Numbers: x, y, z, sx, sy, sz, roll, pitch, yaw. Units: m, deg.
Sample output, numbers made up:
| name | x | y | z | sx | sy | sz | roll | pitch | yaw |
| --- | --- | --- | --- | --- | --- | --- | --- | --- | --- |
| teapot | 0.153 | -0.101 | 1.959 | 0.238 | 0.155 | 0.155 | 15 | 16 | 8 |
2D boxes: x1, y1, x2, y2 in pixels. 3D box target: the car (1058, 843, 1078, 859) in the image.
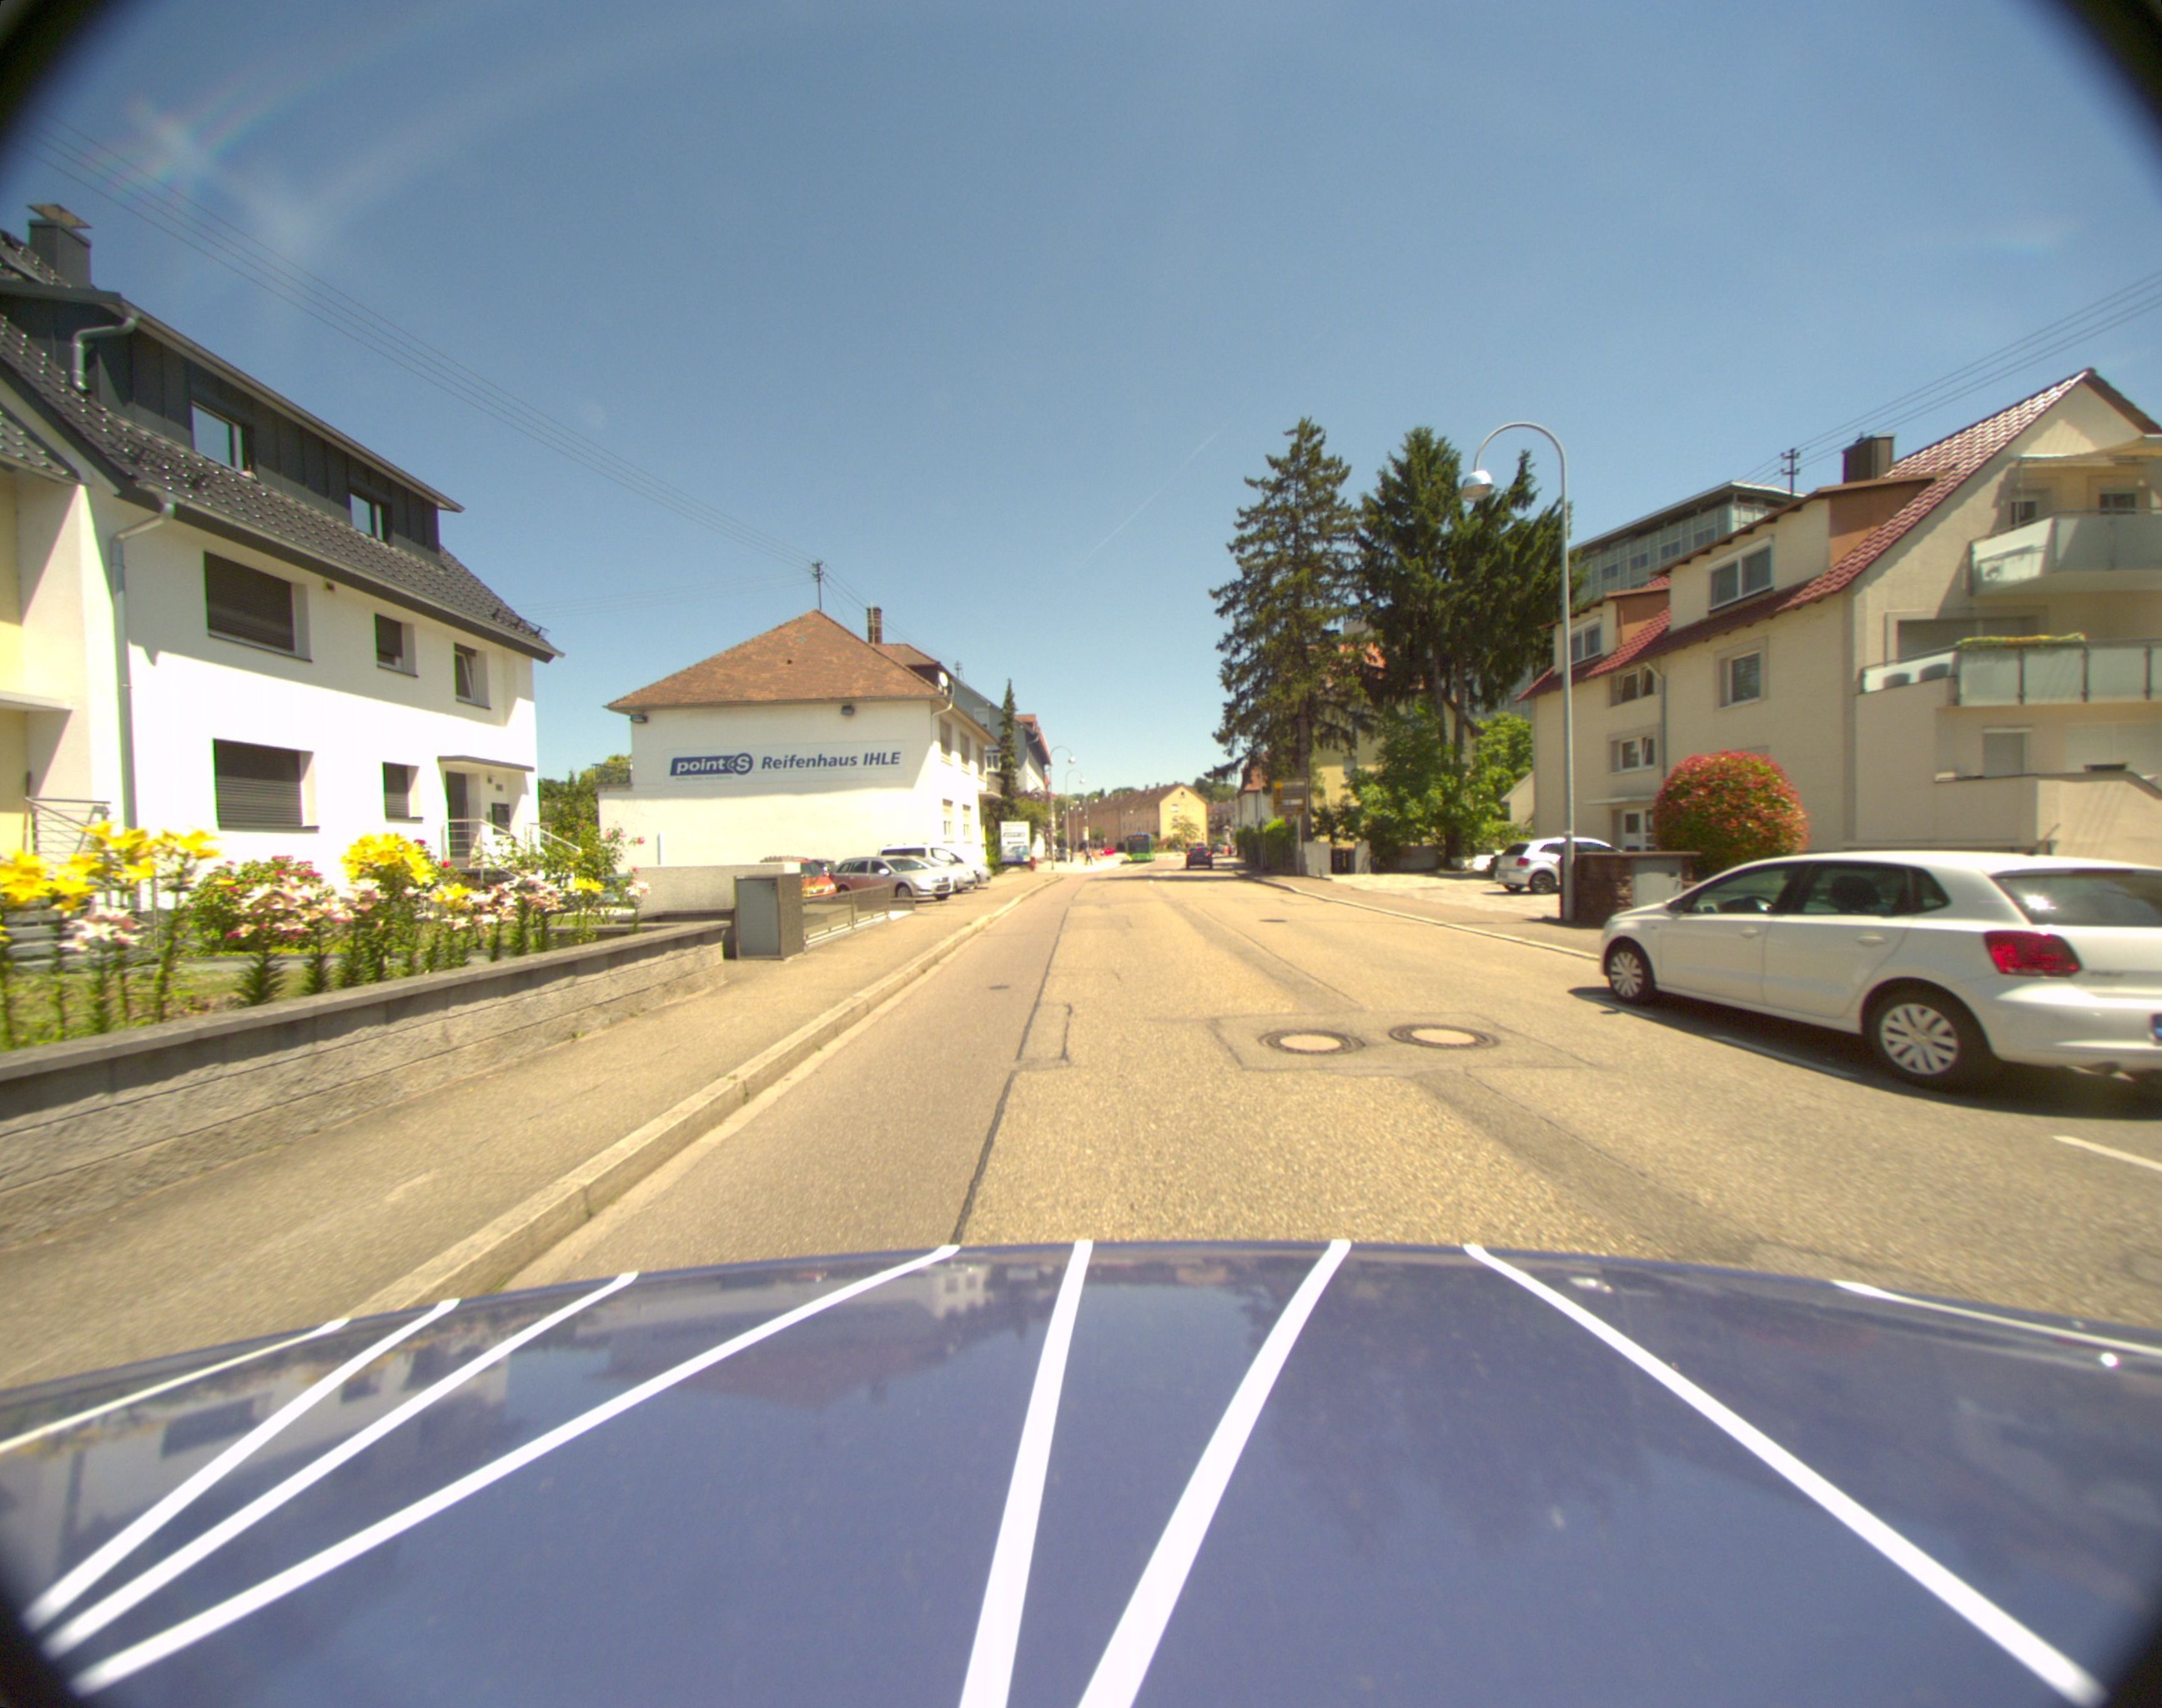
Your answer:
| name | x | y | z | sx | sy | sz | roll | pitch | yaw |
| --- | --- | --- | --- | --- | --- | --- | --- | --- | --- |
| car | -1.329 | -0.317 | 79.495 | 1.762 | 1.505 | 3.741 | 2 | 2 | 3 |

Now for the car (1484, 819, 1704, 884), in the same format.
| name | x | y | z | sx | sy | sz | roll | pitch | yaw |
| --- | --- | --- | --- | --- | --- | --- | --- | --- | --- |
| car | 13.445 | -0.073 | 20.142 | 4.477 | 1.433 | 1.847 | -3 | 1 | 5 |

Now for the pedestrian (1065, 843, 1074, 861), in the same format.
| name | x | y | z | sx | sy | sz | roll | pitch | yaw |
| --- | --- | --- | --- | --- | --- | --- | --- | --- | --- |
| pedestrian | -1.060 | -0.144 | 68.695 | 0.614 | 1.607 | 0.751 | 1 | 2 | 19 |

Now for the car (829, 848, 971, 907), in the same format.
| name | x | y | z | sx | sy | sz | roll | pitch | yaw |
| --- | --- | --- | --- | --- | --- | --- | --- | --- | --- |
| car | -5.680 | 0.745 | 23.653 | 4.293 | 1.539 | 1.759 | -3 | 3 | 34 |

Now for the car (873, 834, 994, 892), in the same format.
| name | x | y | z | sx | sy | sz | roll | pitch | yaw |
| --- | --- | --- | --- | --- | --- | --- | --- | --- | --- |
| car | -5.571 | 0.324 | 29.176 | 4.303 | 1.820 | 1.738 | -5 | 1 | -6 |

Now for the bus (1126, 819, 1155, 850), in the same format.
| name | x | y | z | sx | sy | sz | roll | pitch | yaw |
| --- | --- | --- | --- | --- | --- | --- | --- | --- | --- |
| bus | 6.487 | -2.141 | 83.360 | 2.910 | 3.063 | 12.563 | -2 | 1 | 4 |

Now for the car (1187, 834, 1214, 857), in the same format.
| name | x | y | z | sx | sy | sz | roll | pitch | yaw |
| --- | --- | --- | --- | --- | --- | --- | --- | --- | --- |
| car | 8.277 | -0.604 | 52.492 | 1.743 | 1.496 | 4.145 | 0 | 1 | 10 |

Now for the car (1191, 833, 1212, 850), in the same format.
| name | x | y | z | sx | sy | sz | roll | pitch | yaw |
| --- | --- | --- | --- | --- | --- | --- | --- | --- | --- |
| car | 10.847 | -1.118 | 68.729 | 1.809 | 1.480 | 4.389 | 0 | 1 | 8 |

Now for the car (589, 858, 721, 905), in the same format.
| name | x | y | z | sx | sy | sz | roll | pitch | yaw |
| --- | --- | --- | --- | --- | --- | --- | --- | --- | --- |
| car | -16.342 | 1.048 | 29.230 | 3.993 | 1.478 | 2.001 | -3 | 2 | 12 |

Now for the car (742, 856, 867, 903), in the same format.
| name | x | y | z | sx | sy | sz | roll | pitch | yaw |
| --- | --- | --- | --- | --- | --- | --- | --- | --- | --- |
| car | -10.603 | 0.972 | 29.282 | 3.993 | 1.478 | 2.001 | -3 | 2 | 12 |

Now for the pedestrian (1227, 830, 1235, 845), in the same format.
| name | x | y | z | sx | sy | sz | roll | pitch | yaw |
| --- | --- | --- | --- | --- | --- | --- | --- | --- | --- |
| pedestrian | 15.593 | -1.709 | 79.042 | 0.614 | 1.555 | 0.824 | -7 | 1 | 7 |

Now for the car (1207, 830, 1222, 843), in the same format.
| name | x | y | z | sx | sy | sz | roll | pitch | yaw |
| --- | --- | --- | --- | --- | --- | --- | --- | --- | --- |
| car | 18.248 | -2.431 | 104.103 | 1.857 | 1.607 | 4.298 | -2 | 1 | 9 |

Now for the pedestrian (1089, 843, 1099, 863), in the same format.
| name | x | y | z | sx | sy | sz | roll | pitch | yaw |
| --- | --- | --- | --- | --- | --- | --- | --- | --- | --- |
| pedestrian | 1.175 | -0.075 | 70.278 | 0.751 | 1.795 | 0.615 | 1 | 3 | -12 |

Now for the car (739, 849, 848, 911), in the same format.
| name | x | y | z | sx | sy | sz | roll | pitch | yaw |
| --- | --- | --- | --- | --- | --- | --- | --- | --- | --- |
| car | -8.963 | 0.779 | 23.473 | 1.641 | 1.633 | 4.293 | -6 | 3 | -40 |

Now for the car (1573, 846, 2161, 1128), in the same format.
| name | x | y | z | sx | sy | sz | roll | pitch | yaw |
| --- | --- | --- | --- | --- | --- | --- | --- | --- | --- |
| car | 5.833 | 0.661 | 5.810 | 1.582 | 1.415 | 3.940 | 0 | 1 | 0 |

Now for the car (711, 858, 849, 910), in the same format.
| name | x | y | z | sx | sy | sz | roll | pitch | yaw |
| --- | --- | --- | --- | --- | --- | --- | --- | --- | --- |
| car | -10.638 | 1.045 | 26.980 | 3.993 | 1.478 | 2.001 | -3 | 2 | 12 |

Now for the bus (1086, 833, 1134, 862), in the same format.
| name | x | y | z | sx | sy | sz | roll | pitch | yaw |
| --- | --- | --- | --- | --- | --- | --- | --- | --- | --- |
| bus | 3.376 | -0.743 | 92.452 | 2.931 | 3.044 | 12.549 | -4 | 1 | -11 |

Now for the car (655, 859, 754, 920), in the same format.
| name | x | y | z | sx | sy | sz | roll | pitch | yaw |
| --- | --- | --- | --- | --- | --- | --- | --- | --- | --- |
| car | -11.585 | 1.029 | 23.258 | 1.716 | 1.553 | 4.109 | -6 | 3 | -39 |

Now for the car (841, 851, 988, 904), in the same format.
| name | x | y | z | sx | sy | sz | roll | pitch | yaw |
| --- | --- | --- | --- | --- | --- | --- | --- | --- | --- |
| car | -5.775 | 0.811 | 26.712 | 4.650 | 1.401 | 1.769 | -5 | 1 | 3 |
